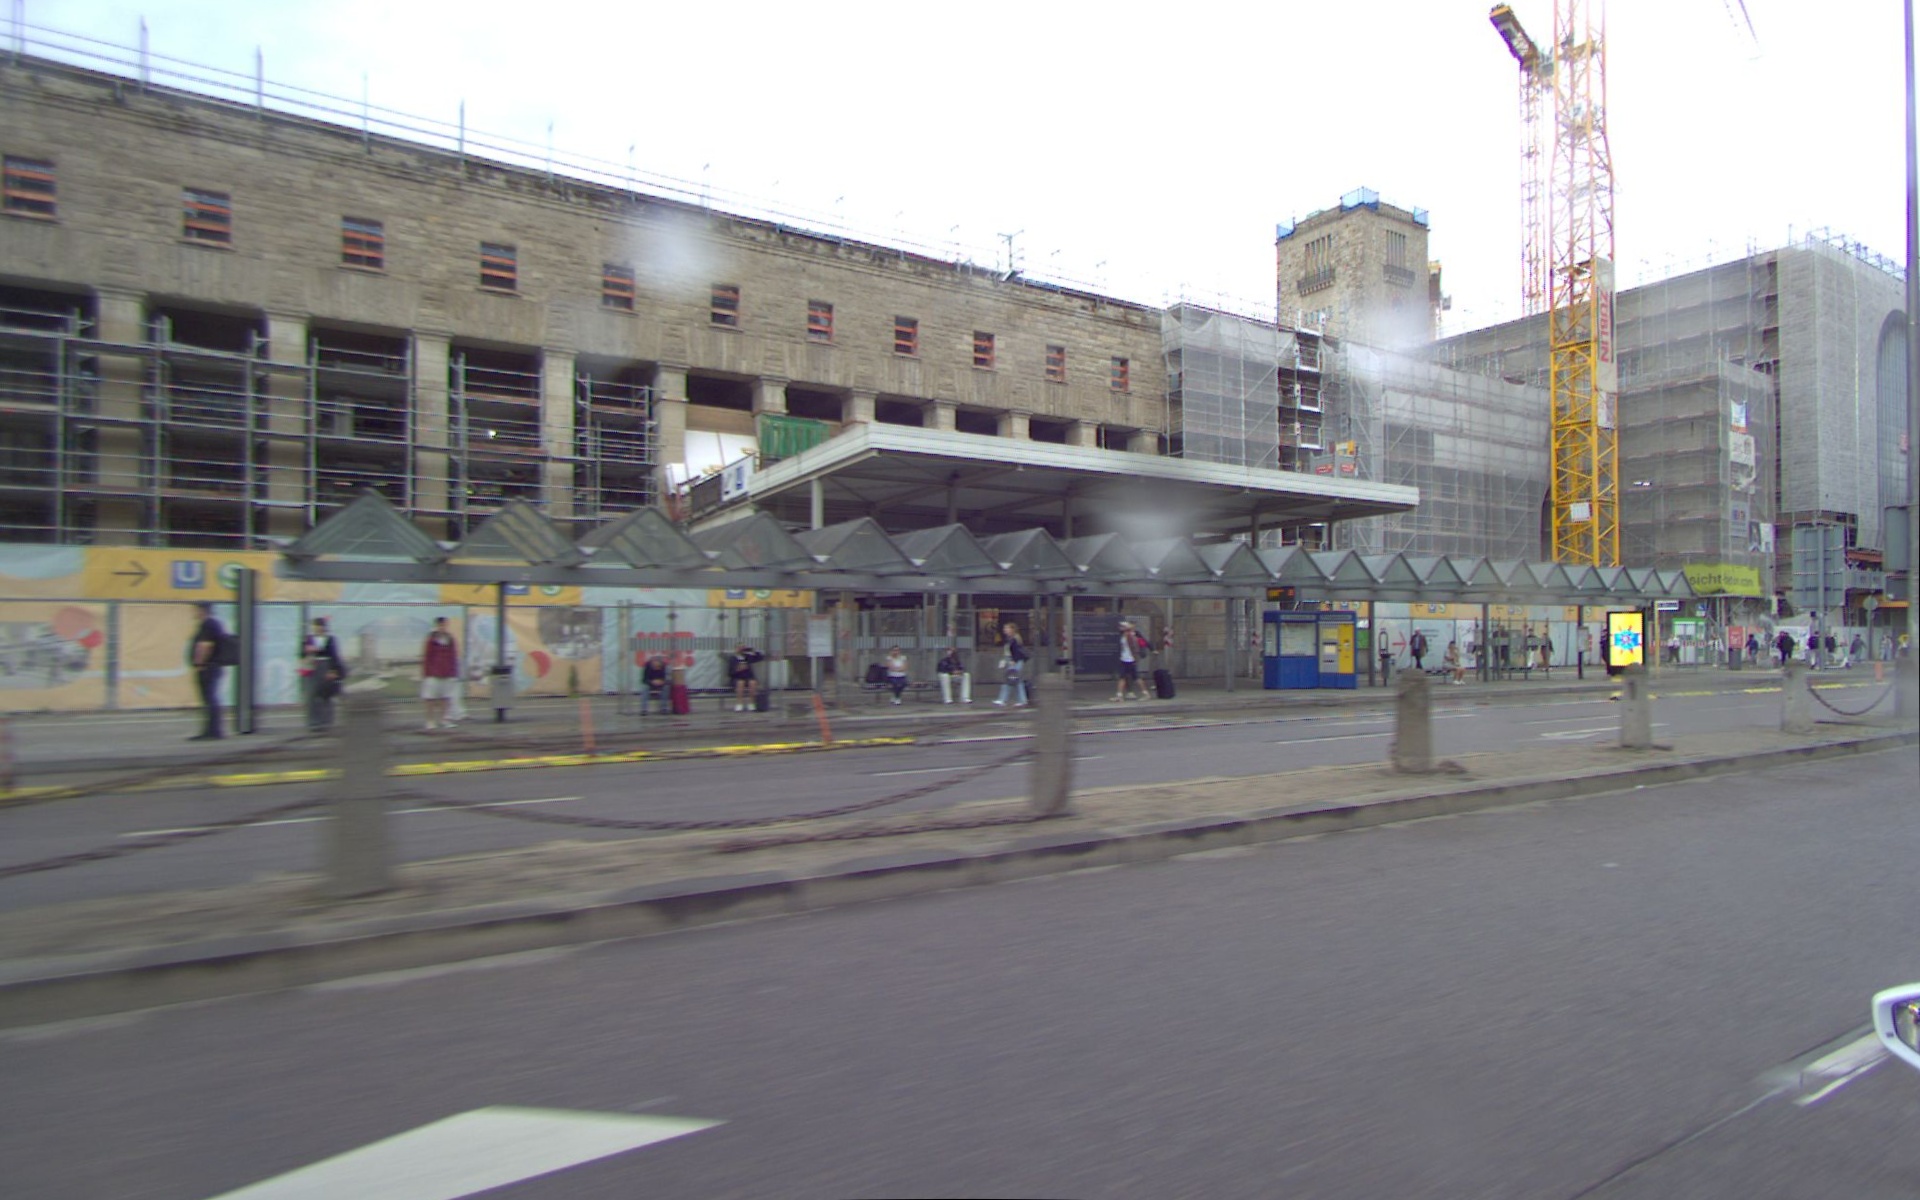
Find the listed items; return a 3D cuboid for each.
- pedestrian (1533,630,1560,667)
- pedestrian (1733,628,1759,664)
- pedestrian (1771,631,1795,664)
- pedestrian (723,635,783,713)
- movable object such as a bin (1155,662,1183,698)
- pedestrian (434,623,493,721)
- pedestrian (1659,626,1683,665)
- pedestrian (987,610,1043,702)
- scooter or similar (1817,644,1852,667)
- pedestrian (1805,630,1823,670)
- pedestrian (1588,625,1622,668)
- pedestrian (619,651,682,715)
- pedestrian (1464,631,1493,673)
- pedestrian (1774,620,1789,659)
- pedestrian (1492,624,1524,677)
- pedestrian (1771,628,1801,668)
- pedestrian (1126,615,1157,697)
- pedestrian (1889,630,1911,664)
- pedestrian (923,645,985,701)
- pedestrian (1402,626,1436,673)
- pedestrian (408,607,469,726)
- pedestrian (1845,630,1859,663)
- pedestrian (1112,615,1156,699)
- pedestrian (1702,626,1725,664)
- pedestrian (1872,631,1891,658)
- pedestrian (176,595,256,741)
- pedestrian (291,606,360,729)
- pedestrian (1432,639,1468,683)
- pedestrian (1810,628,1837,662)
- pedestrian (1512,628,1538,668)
[{"bbox_3d":[24.840,2.040,42.521,0.695,1.568,0.797,1,-1,-36],"label":"pedestrian"},{"bbox_3d":[41.627,2.435,53.195,0.857,1.865,0.799,1,-1,-28],"label":"pedestrian"},{"bbox_3d":[47.220,2.696,57.651,0.840,1.865,0.799,1,-1,-28],"label":"pedestrian"},{"bbox_3d":[-4.063,1.415,19.659,0.822,1.451,1.049,1,-1,-32],"label":"pedestrian"},{"bbox_3d":[4.849,1.845,23.277,0.621,0.800,0.512,0,-2,14],"label":"movable object such as a bin"},{"bbox_3d":[-8.669,1.233,17.552,0.799,1.652,0.551,1,-1,-40],"label":"pedestrian"},{"bbox_3d":[34.259,2.178,48.389,0.648,1.865,0.739,1,-1,-28],"label":"pedestrian"},{"bbox_3d":[1.109,1.112,20.313,0.848,1.814,0.773,1,-1,-24],"label":"pedestrian"},{"bbox_3d":[41.291,2.615,47.415,1.215,1.080,0.460,1,-1,3],"label":"scooter or similar"},{"bbox_3d":[40.704,2.368,47.874,0.698,1.865,0.503,1,-1,-38],"label":"pedestrian"},{"bbox_3d":[28.911,2.074,45.021,1.033,1.865,0.853,1,1,-31],"label":"pedestrian"},{"bbox_3d":[-5.720,1.514,18.540,0.916,1.107,0.839,1,-1,-33],"label":"pedestrian"},{"bbox_3d":[20.414,2.027,39.548,0.694,1.629,0.798,1,-1,-33],"label":"pedestrian"},{"bbox_3d":[39.475,1.910,48.262,0.501,1.865,0.339,1,-1,-16],"label":"pedestrian"},{"bbox_3d":[19.461,1.781,35.676,0.689,1.865,0.745,1,-1,-11],"label":"pedestrian"},{"bbox_3d":[39.162,2.268,47.649,0.861,1.865,0.704,1,-1,-3],"label":"pedestrian"},{"bbox_3d":[4.217,1.294,23.344,0.664,1.872,0.558,0,-1,14],"label":"pedestrian"},{"bbox_3d":[51.986,2.592,55.531,0.866,1.865,0.833,0,-1,45],"label":"pedestrian"},{"bbox_3d":[-0.131,1.602,22.281,1.043,1.173,0.945,1,-1,-31],"label":"pedestrian"},{"bbox_3d":[17.458,1.864,38.185,0.828,1.722,0.873,1,-1,-33],"label":"pedestrian"},{"bbox_3d":[-8.244,1.031,15.877,0.741,1.814,0.718,1,-1,-37],"label":"pedestrian"},{"bbox_3d":[50.594,2.646,56.942,0.564,1.865,0.700,0,-1,45],"label":"pedestrian"},{"bbox_3d":[3.847,1.248,22.200,0.769,1.814,0.671,0,-1,31],"label":"pedestrian"},{"bbox_3d":[37.944,2.269,50.584,0.604,1.865,0.718,1,-1,-28],"label":"pedestrian"},{"bbox_3d":[57.364,2.773,62.544,0.828,1.635,0.673,1,-1,-29],"label":"pedestrian"},{"bbox_3d":[-10.459,0.935,14.144,0.814,1.984,0.754,2,-1,-34],"label":"pedestrian"},{"bbox_3d":[-9.657,1.011,15.283,0.799,1.814,0.551,1,-1,-40],"label":"pedestrian"},{"bbox_3d":[15.365,1.903,31.494,0.796,1.343,0.695,1,-1,-33],"label":"pedestrian"},{"bbox_3d":[47.845,2.472,55.667,1.045,1.865,0.836,1,-1,-28],"label":"pedestrian"},{"bbox_3d":[24.327,2.070,43.256,0.695,1.693,0.797,1,-1,-36],"label":"pedestrian"}]
